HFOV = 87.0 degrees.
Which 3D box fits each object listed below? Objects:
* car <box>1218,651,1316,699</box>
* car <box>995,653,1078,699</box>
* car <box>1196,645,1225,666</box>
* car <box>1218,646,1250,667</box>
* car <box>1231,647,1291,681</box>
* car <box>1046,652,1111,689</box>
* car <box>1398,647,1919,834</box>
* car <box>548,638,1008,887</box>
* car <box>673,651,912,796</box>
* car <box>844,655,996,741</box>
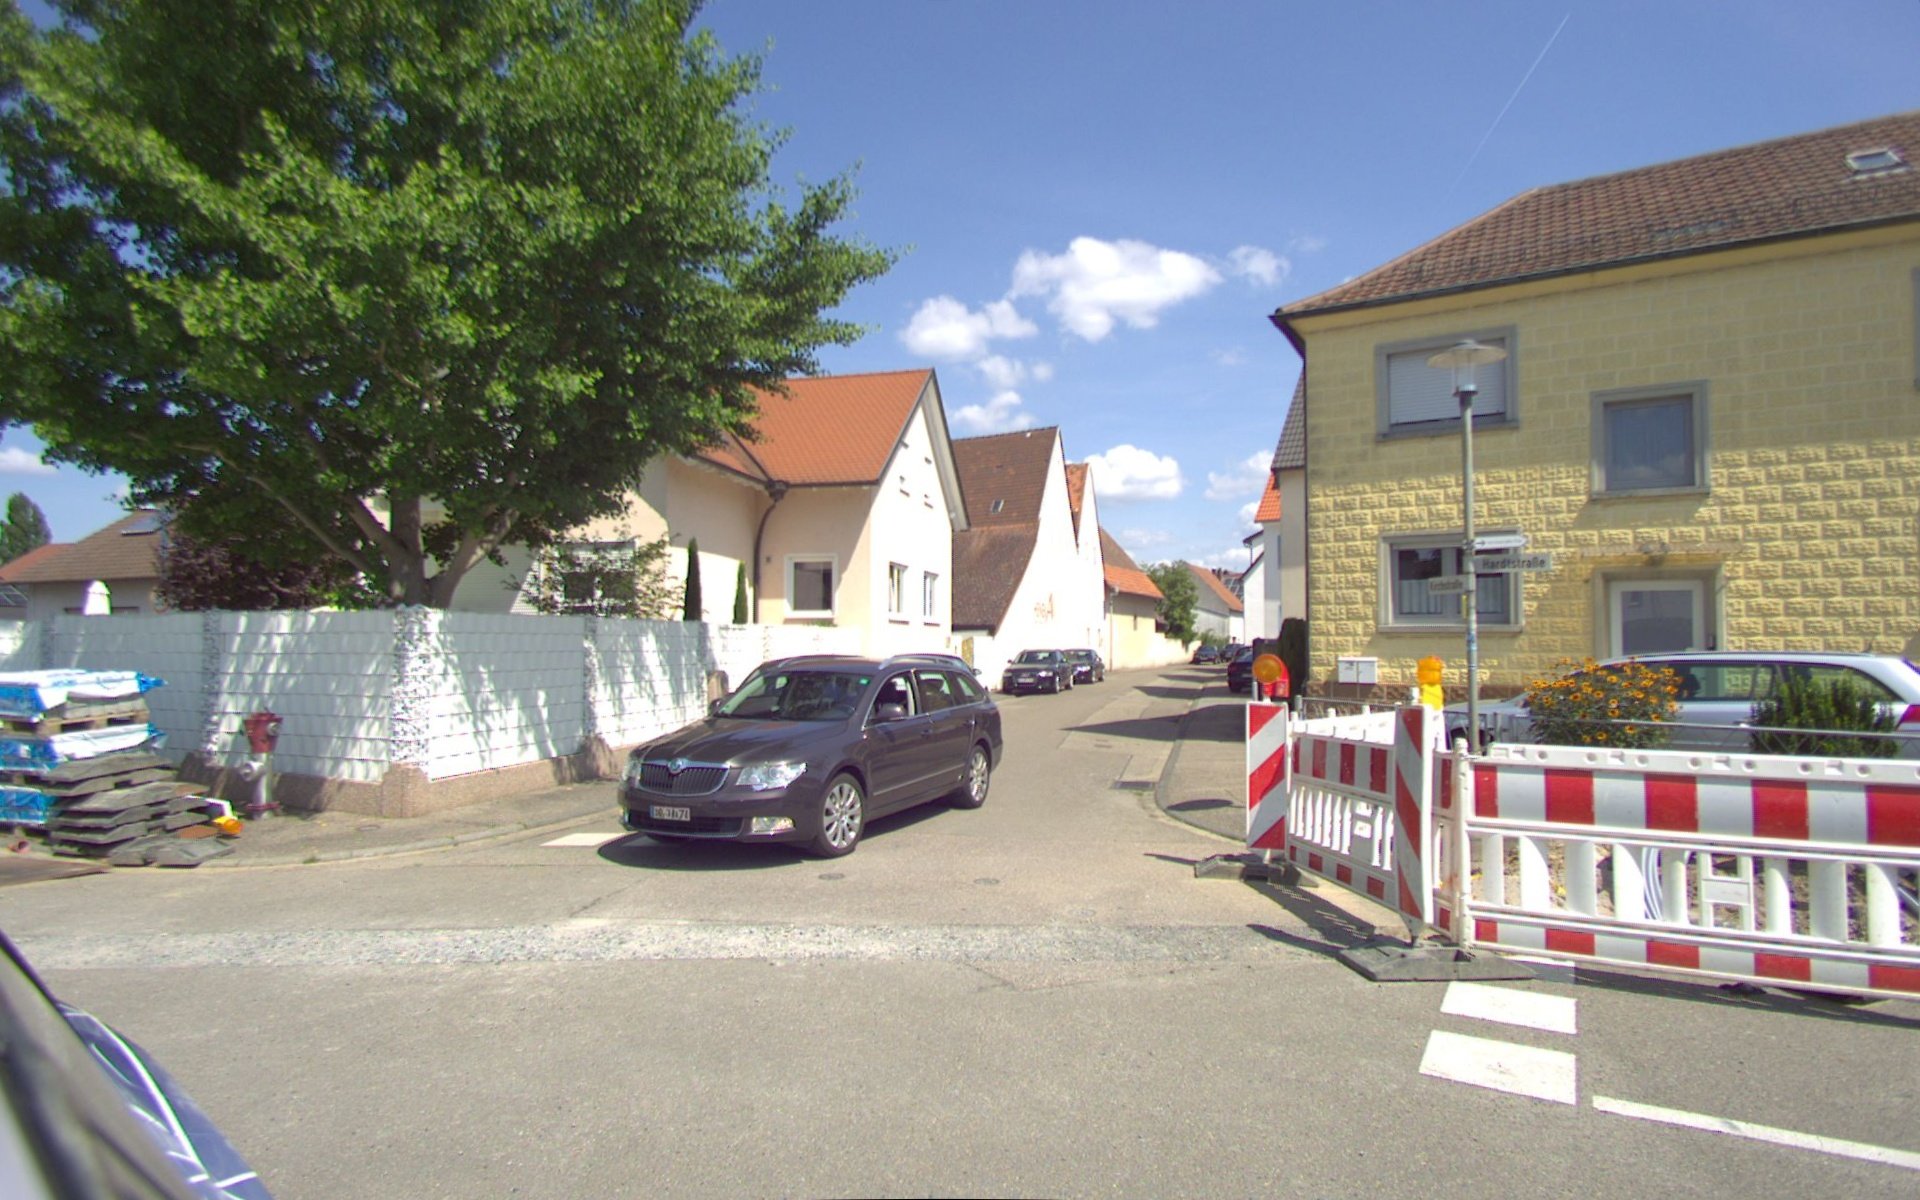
[{"bbox_3d":[10.140,2.428,33.229,1.771,1.360,4.416,-4,-3,34],"label":"car"},{"bbox_3d":[2.616,2.467,33.484,1.884,1.375,4.713,-1,-3,15],"label":"car"},{"bbox_3d":[18.962,4.189,76.474,1.772,1.490,3.974,0,-3,19],"label":"car"},{"bbox_3d":[22.885,4.696,84.519,1.776,1.621,3.964,-4,-4,26],"label":"car"},{"bbox_3d":[13.868,2.944,46.501,1.638,1.466,3.744,-3,-4,33],"label":"car"},{"bbox_3d":[4.888,2.836,41.362,1.885,1.375,4.389,-1,-3,17],"label":"car"},{"bbox_3d":[6.996,1.219,10.112,4.474,1.497,1.766,-3,-4,44],"label":"car"},{"bbox_3d":[-1.174,1.237,8.861,1.774,1.547,4.675,-3,-5,21],"label":"car"},{"bbox_3d":[-2.025,1.511,13.456,1.700,1.544,4.019,-4,-3,12],"label":"car"},{"bbox_3d":[-0.645,1.831,20.090,1.883,1.439,4.717,-1,-3,13],"label":"car"}]
